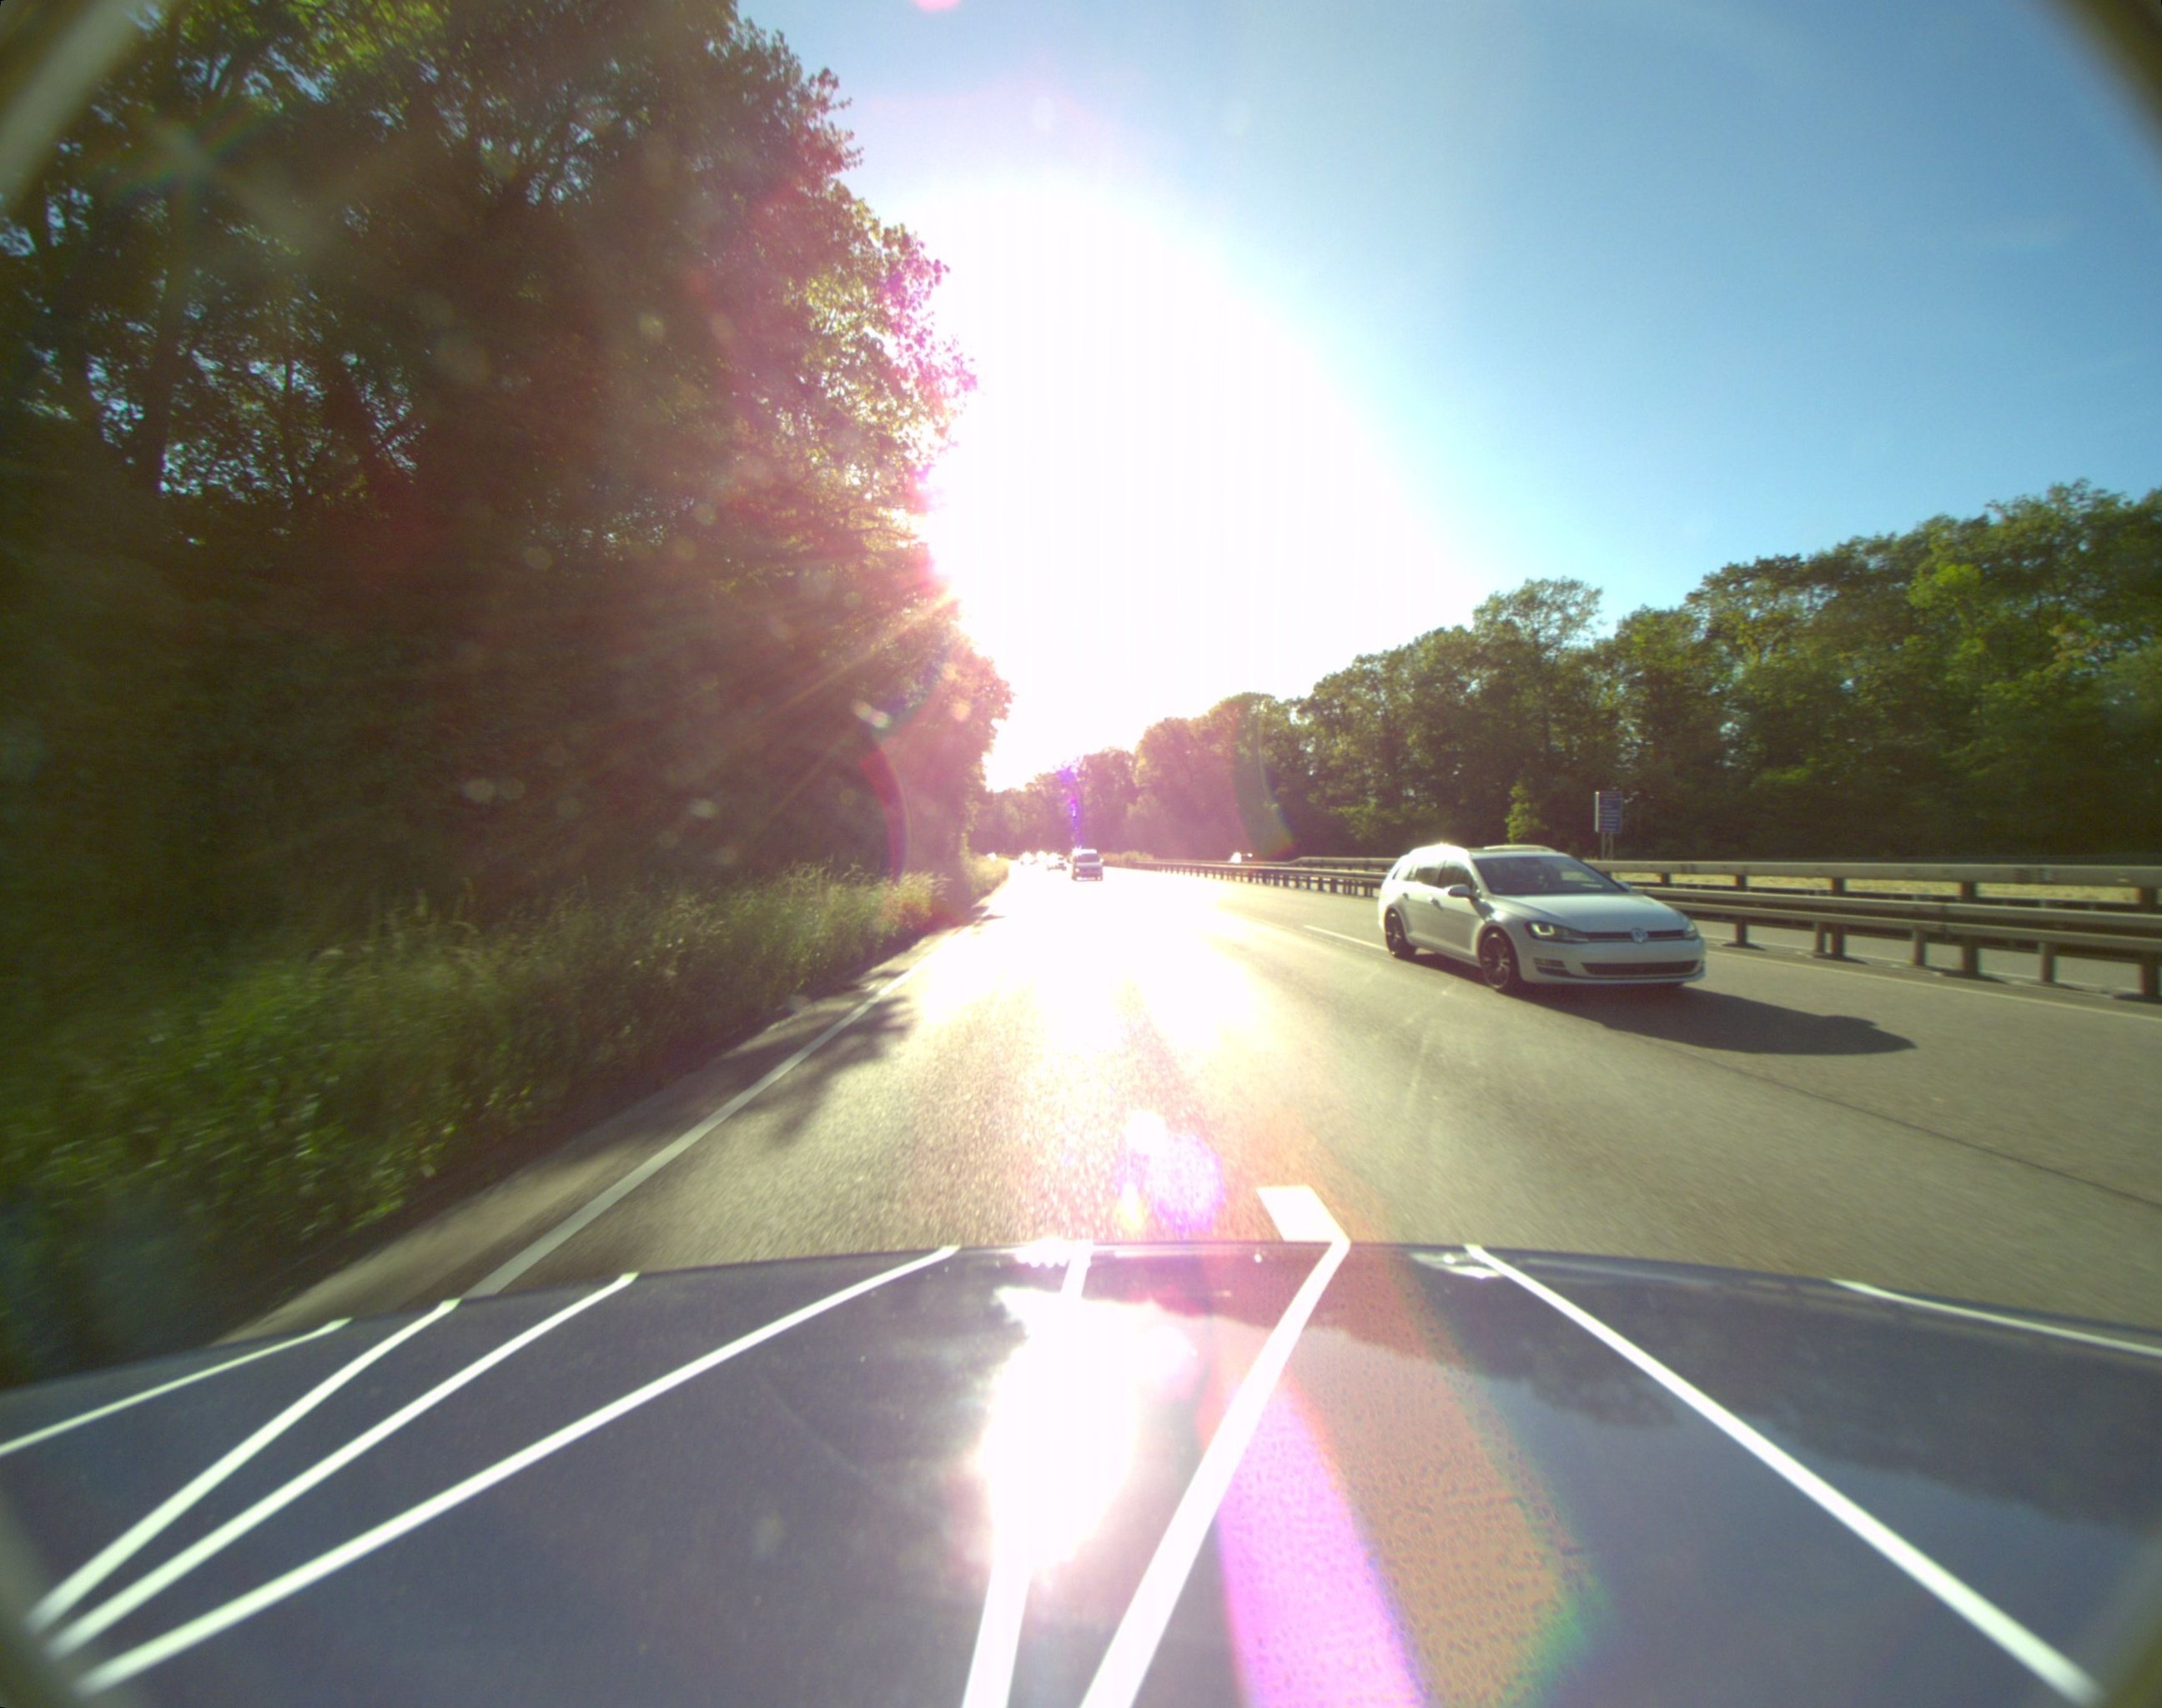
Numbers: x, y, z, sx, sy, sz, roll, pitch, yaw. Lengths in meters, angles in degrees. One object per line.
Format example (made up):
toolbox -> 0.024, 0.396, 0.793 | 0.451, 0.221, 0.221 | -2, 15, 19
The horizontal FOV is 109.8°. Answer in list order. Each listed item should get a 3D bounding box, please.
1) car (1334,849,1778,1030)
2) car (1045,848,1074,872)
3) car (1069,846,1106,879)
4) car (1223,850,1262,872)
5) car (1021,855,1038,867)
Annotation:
car -> 4.985, 0.721, 9.278 | 1.934, 1.499, 5.599 | -2, 0, 0
car -> -2.063, 0.494, 70.878 | 2.258, 1.843, 5.136 | -2, 3, -6
car -> 0.338, 0.458, 46.078 | 1.800, 1.797, 4.830 | -2, 1, -4
car -> 14.315, 0.575, 67.638 | 1.999, 1.837, 5.308 | -2, 1, -4
car -> -7.068, 0.904, 103.493 | 1.935, 1.499, 5.081 | -1, 1, -8
